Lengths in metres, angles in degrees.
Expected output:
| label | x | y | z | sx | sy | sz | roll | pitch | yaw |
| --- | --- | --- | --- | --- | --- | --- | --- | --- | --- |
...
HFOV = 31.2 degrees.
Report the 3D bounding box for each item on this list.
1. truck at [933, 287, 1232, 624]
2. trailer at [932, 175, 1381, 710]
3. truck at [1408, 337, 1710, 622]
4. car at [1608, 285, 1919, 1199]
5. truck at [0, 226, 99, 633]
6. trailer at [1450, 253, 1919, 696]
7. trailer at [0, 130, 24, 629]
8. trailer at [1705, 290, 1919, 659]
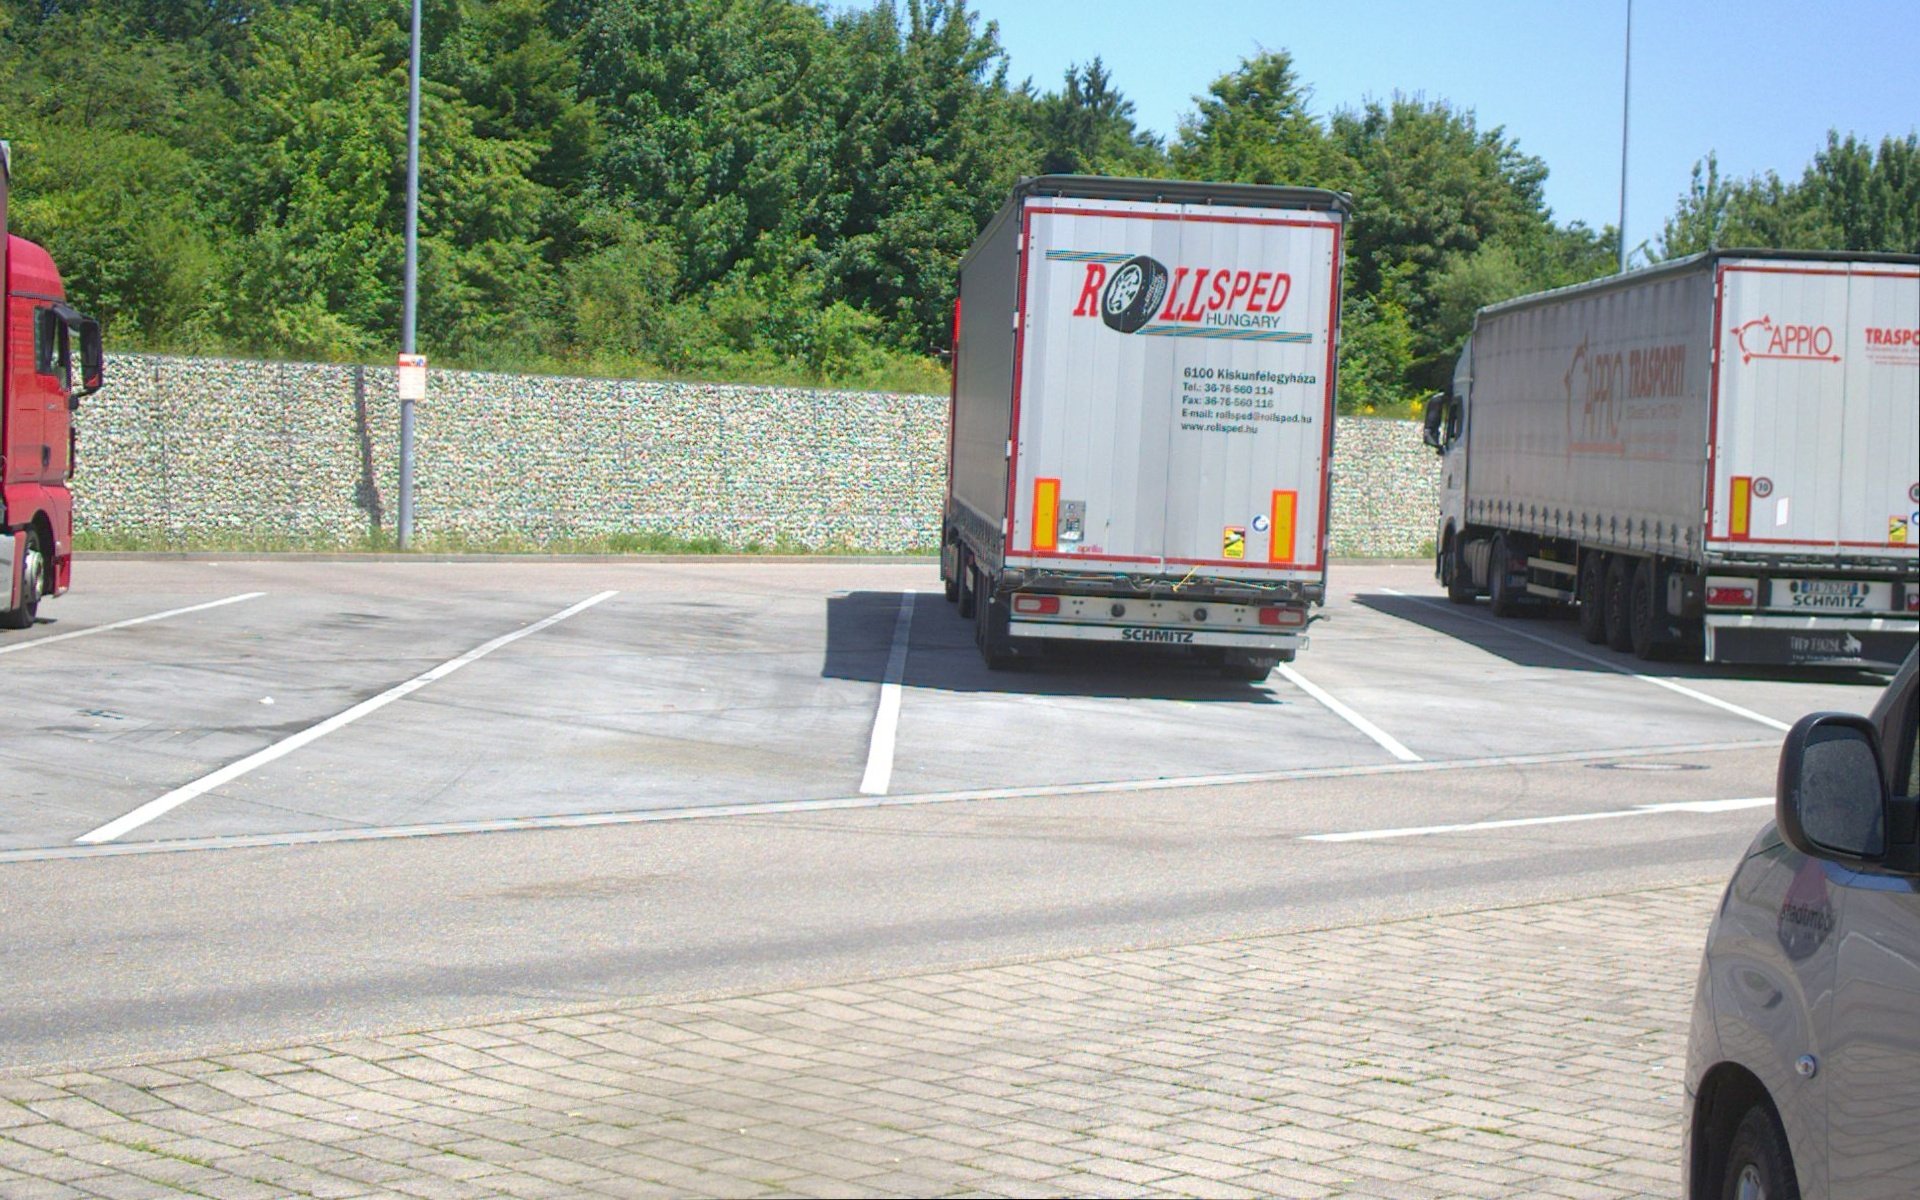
| label | x | y | z | sx | sy | sz | roll | pitch | yaw |
| --- | --- | --- | --- | --- | --- | --- | --- | --- | --- |
| truck | 1.313 | -1.731 | 40.507 | 3.103 | 3.554 | 5.900 | 2 | 3 | -1 |
| trailer | 1.450 | -1.590 | 33.615 | 3.133 | 3.976 | 14.397 | 2 | 3 | -1 |
| truck | 8.023 | -1.694 | 46.827 | 2.862 | 3.509 | 5.900 | 2 | 3 | -1 |
| car | 2.151 | 0.587 | 3.846 | 1.869 | 1.857 | 4.177 | 2 | 2 | -2 |
| truck | -9.236 | -1.443 | 28.139 | 2.851 | 3.316 | 5.900 | 2 | 3 | -1 |
| trailer | 8.116 | -1.518 | 38.727 | 2.811 | 3.976 | 14.396 | 2 | 3 | -1 |
| trailer | -9.192 | -1.488 | 21.565 | 2.791 | 4.071 | 14.133 | 2 | 3 | -1 |
| trailer | 11.757 | -1.450 | 39.779 | 2.811 | 3.976 | 14.396 | 2 | 3 | -1 |
